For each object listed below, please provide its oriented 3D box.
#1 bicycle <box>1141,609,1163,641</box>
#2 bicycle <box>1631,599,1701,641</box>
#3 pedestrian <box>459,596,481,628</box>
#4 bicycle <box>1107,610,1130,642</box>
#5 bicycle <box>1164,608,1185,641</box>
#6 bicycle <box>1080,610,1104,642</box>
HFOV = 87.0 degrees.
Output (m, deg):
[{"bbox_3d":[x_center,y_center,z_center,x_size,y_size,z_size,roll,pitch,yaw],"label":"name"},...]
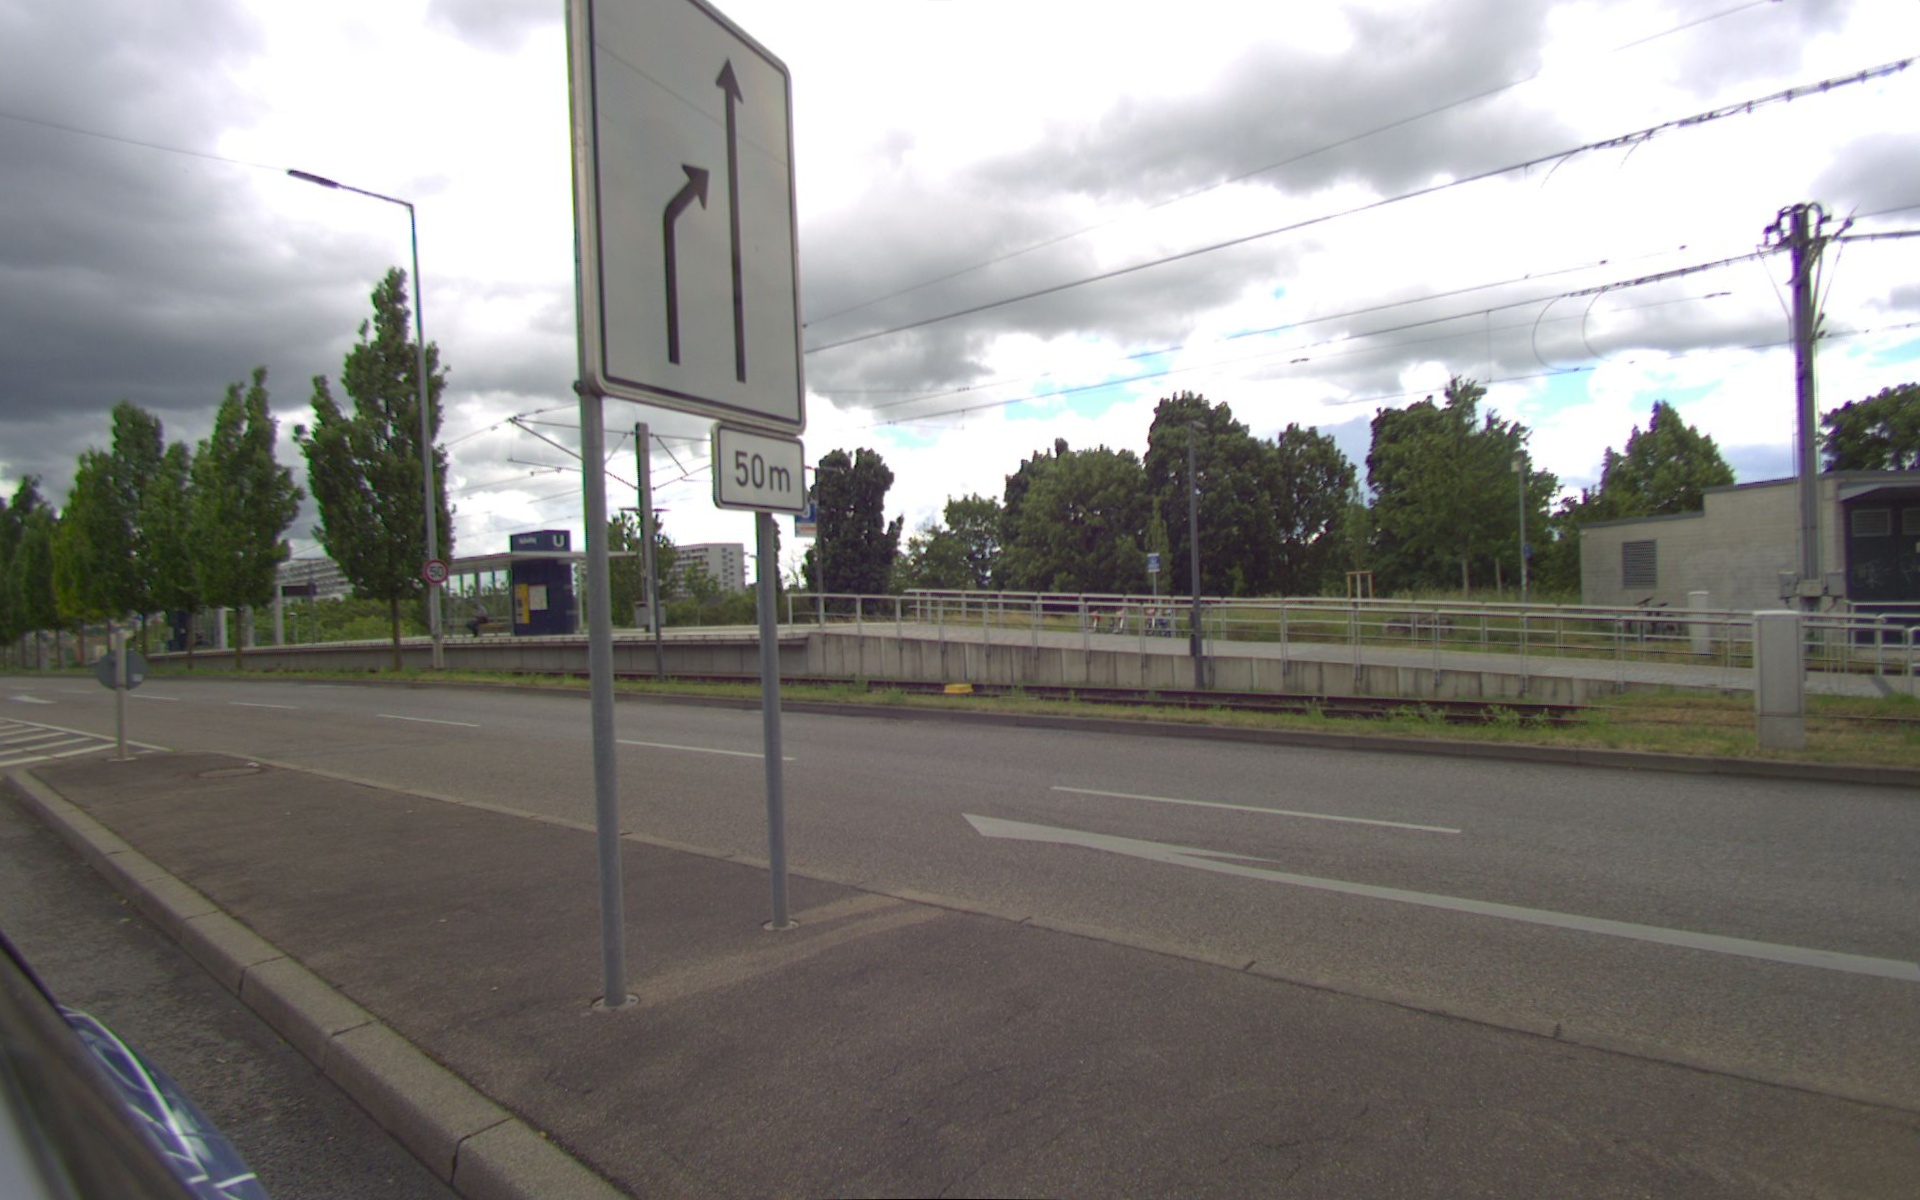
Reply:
[{"bbox_3d":[6.457,0.821,33.995,0.531,1.039,1.804,-1,0,16],"label":"bicycle"},{"bbox_3d":[18.183,0.503,26.107,0.529,1.039,1.813,-1,0,1],"label":"bicycle"},{"bbox_3d":[-18.314,0.452,37.839,0.447,1.163,0.593,-1,0,41],"label":"pedestrian"},{"bbox_3d":[5.401,0.858,34.448,0.531,1.039,1.804,-1,0,16],"label":"bicycle"},{"bbox_3d":[7.138,0.799,33.694,0.531,1.039,1.804,-1,0,16],"label":"bicycle"},{"bbox_3d":[4.545,0.890,34.843,0.531,1.039,1.804,-1,0,16],"label":"bicycle"}]
